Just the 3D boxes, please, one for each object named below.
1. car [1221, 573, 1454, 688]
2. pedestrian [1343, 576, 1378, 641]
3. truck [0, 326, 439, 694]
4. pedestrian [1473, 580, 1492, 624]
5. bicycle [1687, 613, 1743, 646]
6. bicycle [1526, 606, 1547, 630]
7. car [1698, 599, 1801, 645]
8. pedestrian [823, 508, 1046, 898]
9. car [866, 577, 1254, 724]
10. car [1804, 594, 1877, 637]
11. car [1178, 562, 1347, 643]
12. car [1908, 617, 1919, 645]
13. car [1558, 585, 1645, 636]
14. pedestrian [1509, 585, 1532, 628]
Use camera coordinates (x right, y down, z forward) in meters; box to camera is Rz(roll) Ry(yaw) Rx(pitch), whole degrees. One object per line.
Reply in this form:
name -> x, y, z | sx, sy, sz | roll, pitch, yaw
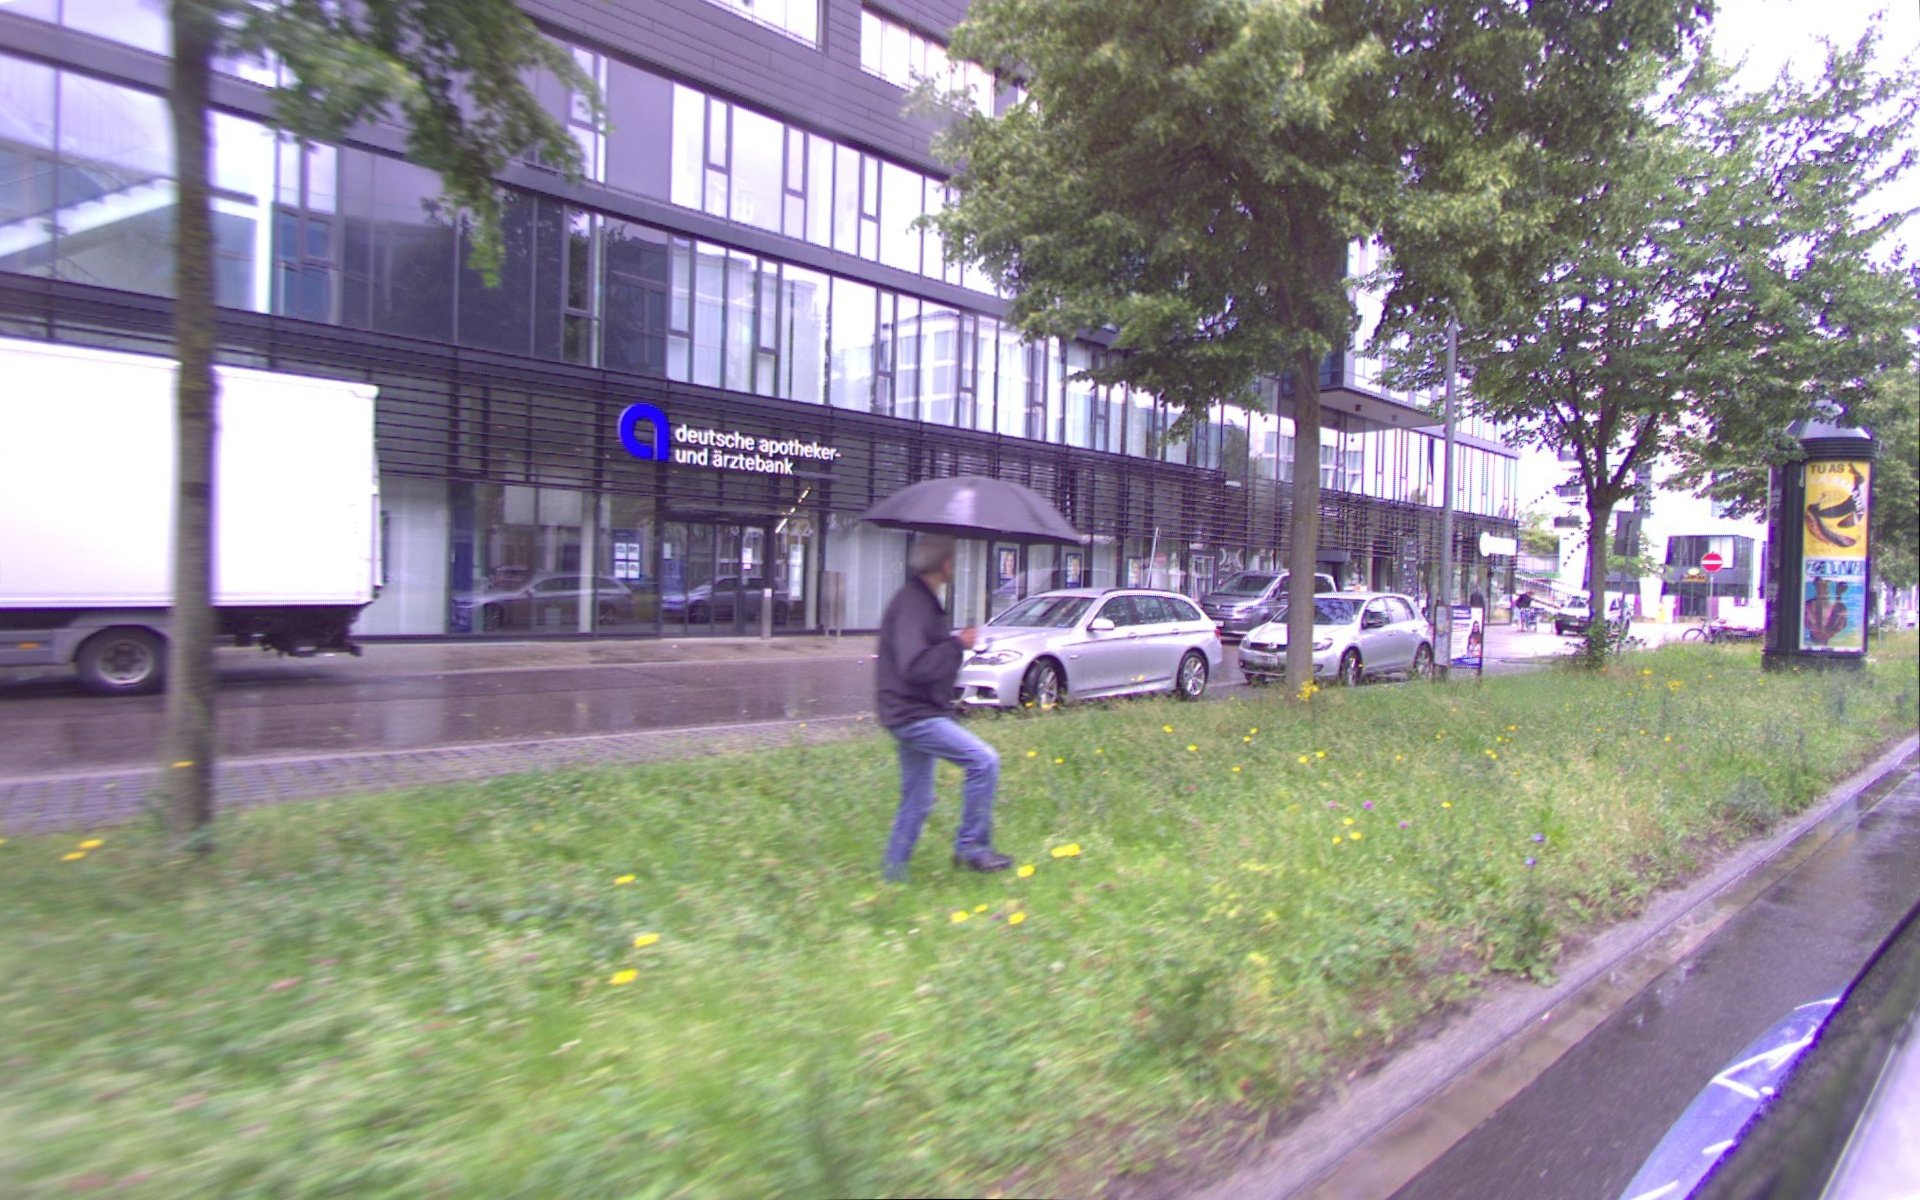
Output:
car -> 6.168, 0.504, 16.349 | 4.027, 1.616, 1.764 | 4, -1, -41
pedestrian -> 11.053, 0.234, 27.926 | 0.789, 1.762, 0.580 | 4, -2, -43
truck -> -10.408, -0.897, 10.467 | 8.405, 3.484, 3.027 | 1, 1, -44
pedestrian -> 22.409, 0.073, 43.406 | 0.500, 1.856, 0.574 | 3, -1, 13
bicycle -> 23.028, 0.891, 30.898 | 0.424, 0.929, 1.464 | 3, 0, -9
bicycle -> 23.543, 0.737, 41.317 | 0.436, 0.909, 1.212 | 2, -1, 44
car -> 28.430, 0.766, 36.373 | 4.872, 1.473, 1.997 | 1, 1, -41
pedestrian -> -0.112, 0.393, 4.402 | 0.688, 1.512, 0.643 | 1, 1, -43
car -> 1.462, 0.511, 12.737 | 5.150, 1.462, 1.995 | 1, 1, -44
car -> 41.427, 0.742, 47.586 | 4.754, 1.729, 1.997 | 4, -1, -42
car -> 8.056, 0.050, 26.680 | 5.062, 1.944, 1.996 | 1, 1, -43
car -> 64.051, 2.114, 66.619 | 4.754, 1.729, 1.997 | 4, -1, -42
car -> 25.977, 0.432, 40.896 | 4.645, 1.889, 1.895 | 2, 1, -44
pedestrian -> 23.050, 0.258, 41.650 | 0.626, 1.727, 0.646 | 2, -1, 44
